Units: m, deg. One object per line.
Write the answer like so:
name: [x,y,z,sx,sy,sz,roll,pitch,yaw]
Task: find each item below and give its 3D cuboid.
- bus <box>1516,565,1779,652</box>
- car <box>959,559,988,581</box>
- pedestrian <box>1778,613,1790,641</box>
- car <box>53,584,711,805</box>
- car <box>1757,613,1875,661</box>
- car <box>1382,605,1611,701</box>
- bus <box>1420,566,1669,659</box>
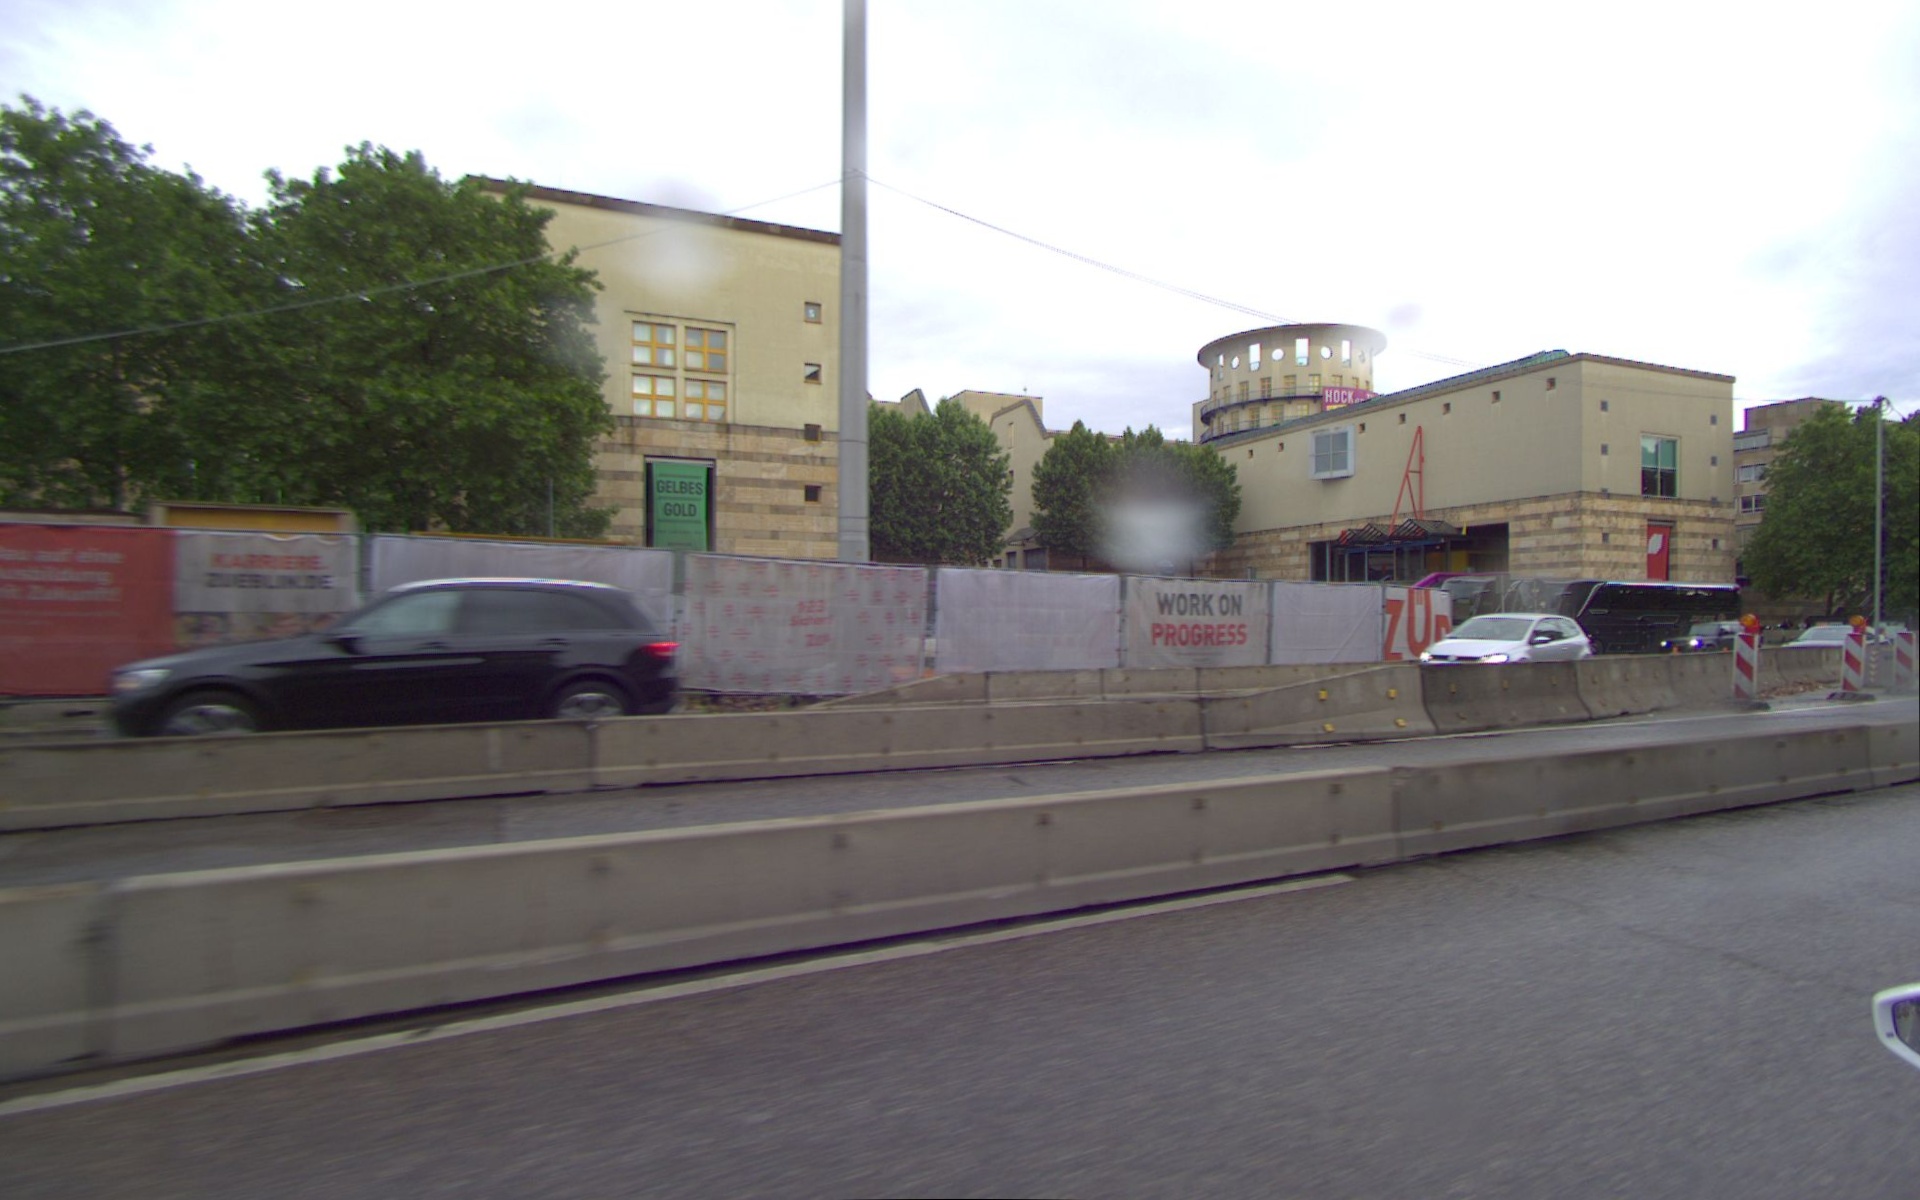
bus: [33.484,0.362,48.691,14.377,3.862,2.799,0,1,-21]
car: [1.424,-3.209,108.631,1.968,2.040,3.985,1,-2,-18]
pedestrian: [59.783,1.980,72.882,0.505,2.040,0.476,1,-2,-23]
car: [-4.857,0.670,9.116,4.707,1.550,1.910,0,0,-32]
car: [26.508,1.081,31.069,4.722,1.280,1.761,0,1,-37]
car: [9.796,0.878,18.296,3.955,1.550,1.983,0,0,-32]
bus: [29.350,0.560,50.271,13.292,4.309,3.113,0,1,-21]
